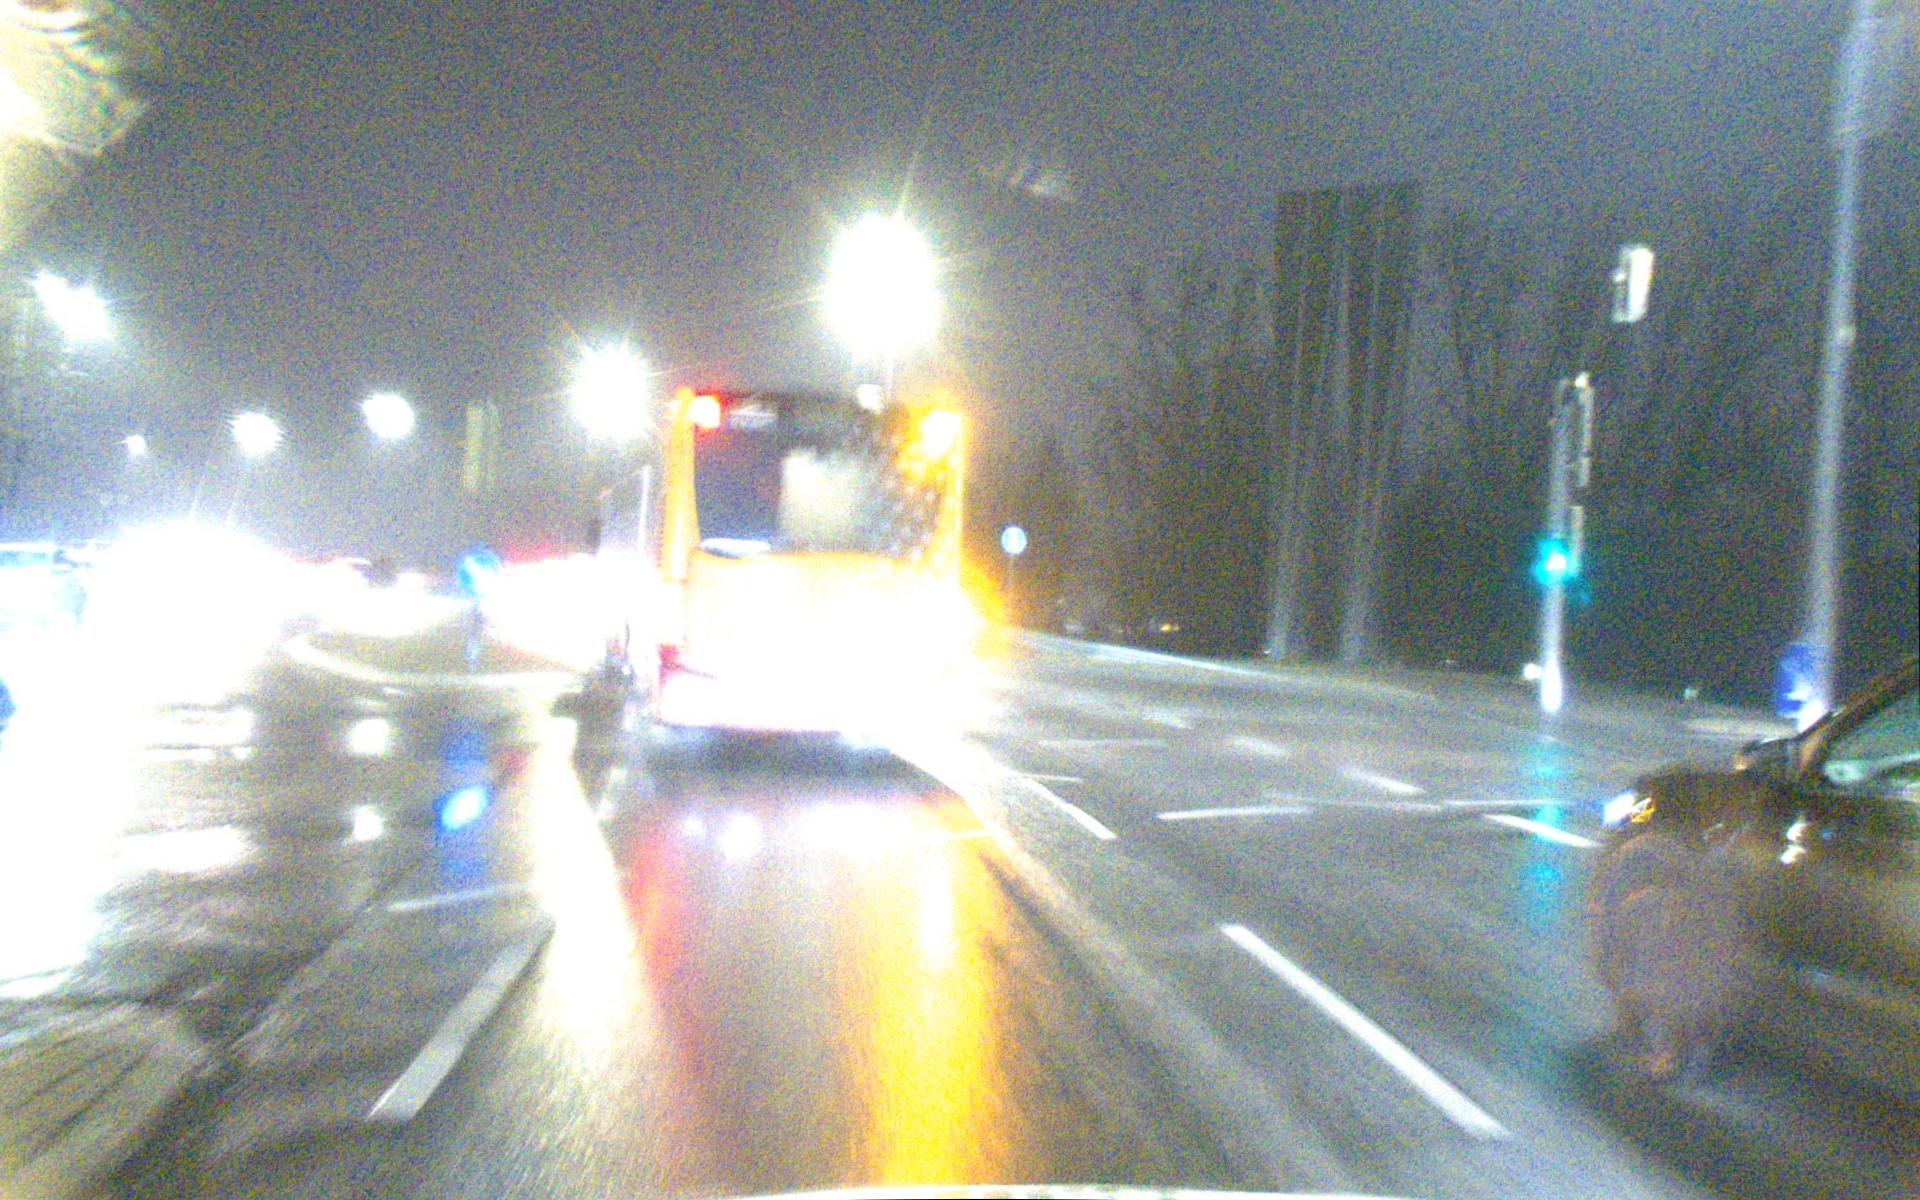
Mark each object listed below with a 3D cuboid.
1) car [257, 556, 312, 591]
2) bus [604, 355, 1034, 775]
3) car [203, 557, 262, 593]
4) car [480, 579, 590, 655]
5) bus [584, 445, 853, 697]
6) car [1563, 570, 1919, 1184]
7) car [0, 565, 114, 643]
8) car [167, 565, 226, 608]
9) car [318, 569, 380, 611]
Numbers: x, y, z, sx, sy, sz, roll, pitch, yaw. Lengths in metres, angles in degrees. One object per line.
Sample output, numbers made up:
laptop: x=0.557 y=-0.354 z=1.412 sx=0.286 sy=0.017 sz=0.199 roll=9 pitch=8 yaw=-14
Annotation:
car: x=-34.389 y=-1.351 z=84.168 sx=1.799 sy=1.646 sz=3.955 roll=4 pitch=-2 yaw=-33
bus: x=-2.032 y=-0.272 z=17.615 sx=3.228 sy=3.103 sz=9.515 roll=3 pitch=0 yaw=-12
car: x=-41.108 y=-1.433 z=93.380 sx=2.075 sy=1.672 sz=3.680 roll=8 pitch=-2 yaw=-38
car: x=-12.639 y=0.475 z=49.021 sx=1.973 sy=2.049 sz=4.304 roll=4 pitch=-1 yaw=-30
bus: x=-4.178 y=-0.484 z=26.501 sx=3.193 sy=3.174 sz=8.613 roll=4 pitch=1 yaw=-14
car: x=3.271 y=0.746 z=4.225 sx=1.645 sy=1.548 sz=3.955 roll=4 pitch=-1 yaw=-6
car: x=-17.678 y=0.070 z=31.467 sx=1.775 sy=1.376 sz=4.130 roll=-1 pitch=1 yaw=-12
car: x=-29.029 y=-0.511 z=62.963 sx=1.799 sy=1.473 sz=4.627 roll=4 pitch=-1 yaw=-23
car: x=-26.409 y=-0.460 z=71.441 sx=1.797 sy=1.646 sz=3.959 roll=4 pitch=-1 yaw=-30
